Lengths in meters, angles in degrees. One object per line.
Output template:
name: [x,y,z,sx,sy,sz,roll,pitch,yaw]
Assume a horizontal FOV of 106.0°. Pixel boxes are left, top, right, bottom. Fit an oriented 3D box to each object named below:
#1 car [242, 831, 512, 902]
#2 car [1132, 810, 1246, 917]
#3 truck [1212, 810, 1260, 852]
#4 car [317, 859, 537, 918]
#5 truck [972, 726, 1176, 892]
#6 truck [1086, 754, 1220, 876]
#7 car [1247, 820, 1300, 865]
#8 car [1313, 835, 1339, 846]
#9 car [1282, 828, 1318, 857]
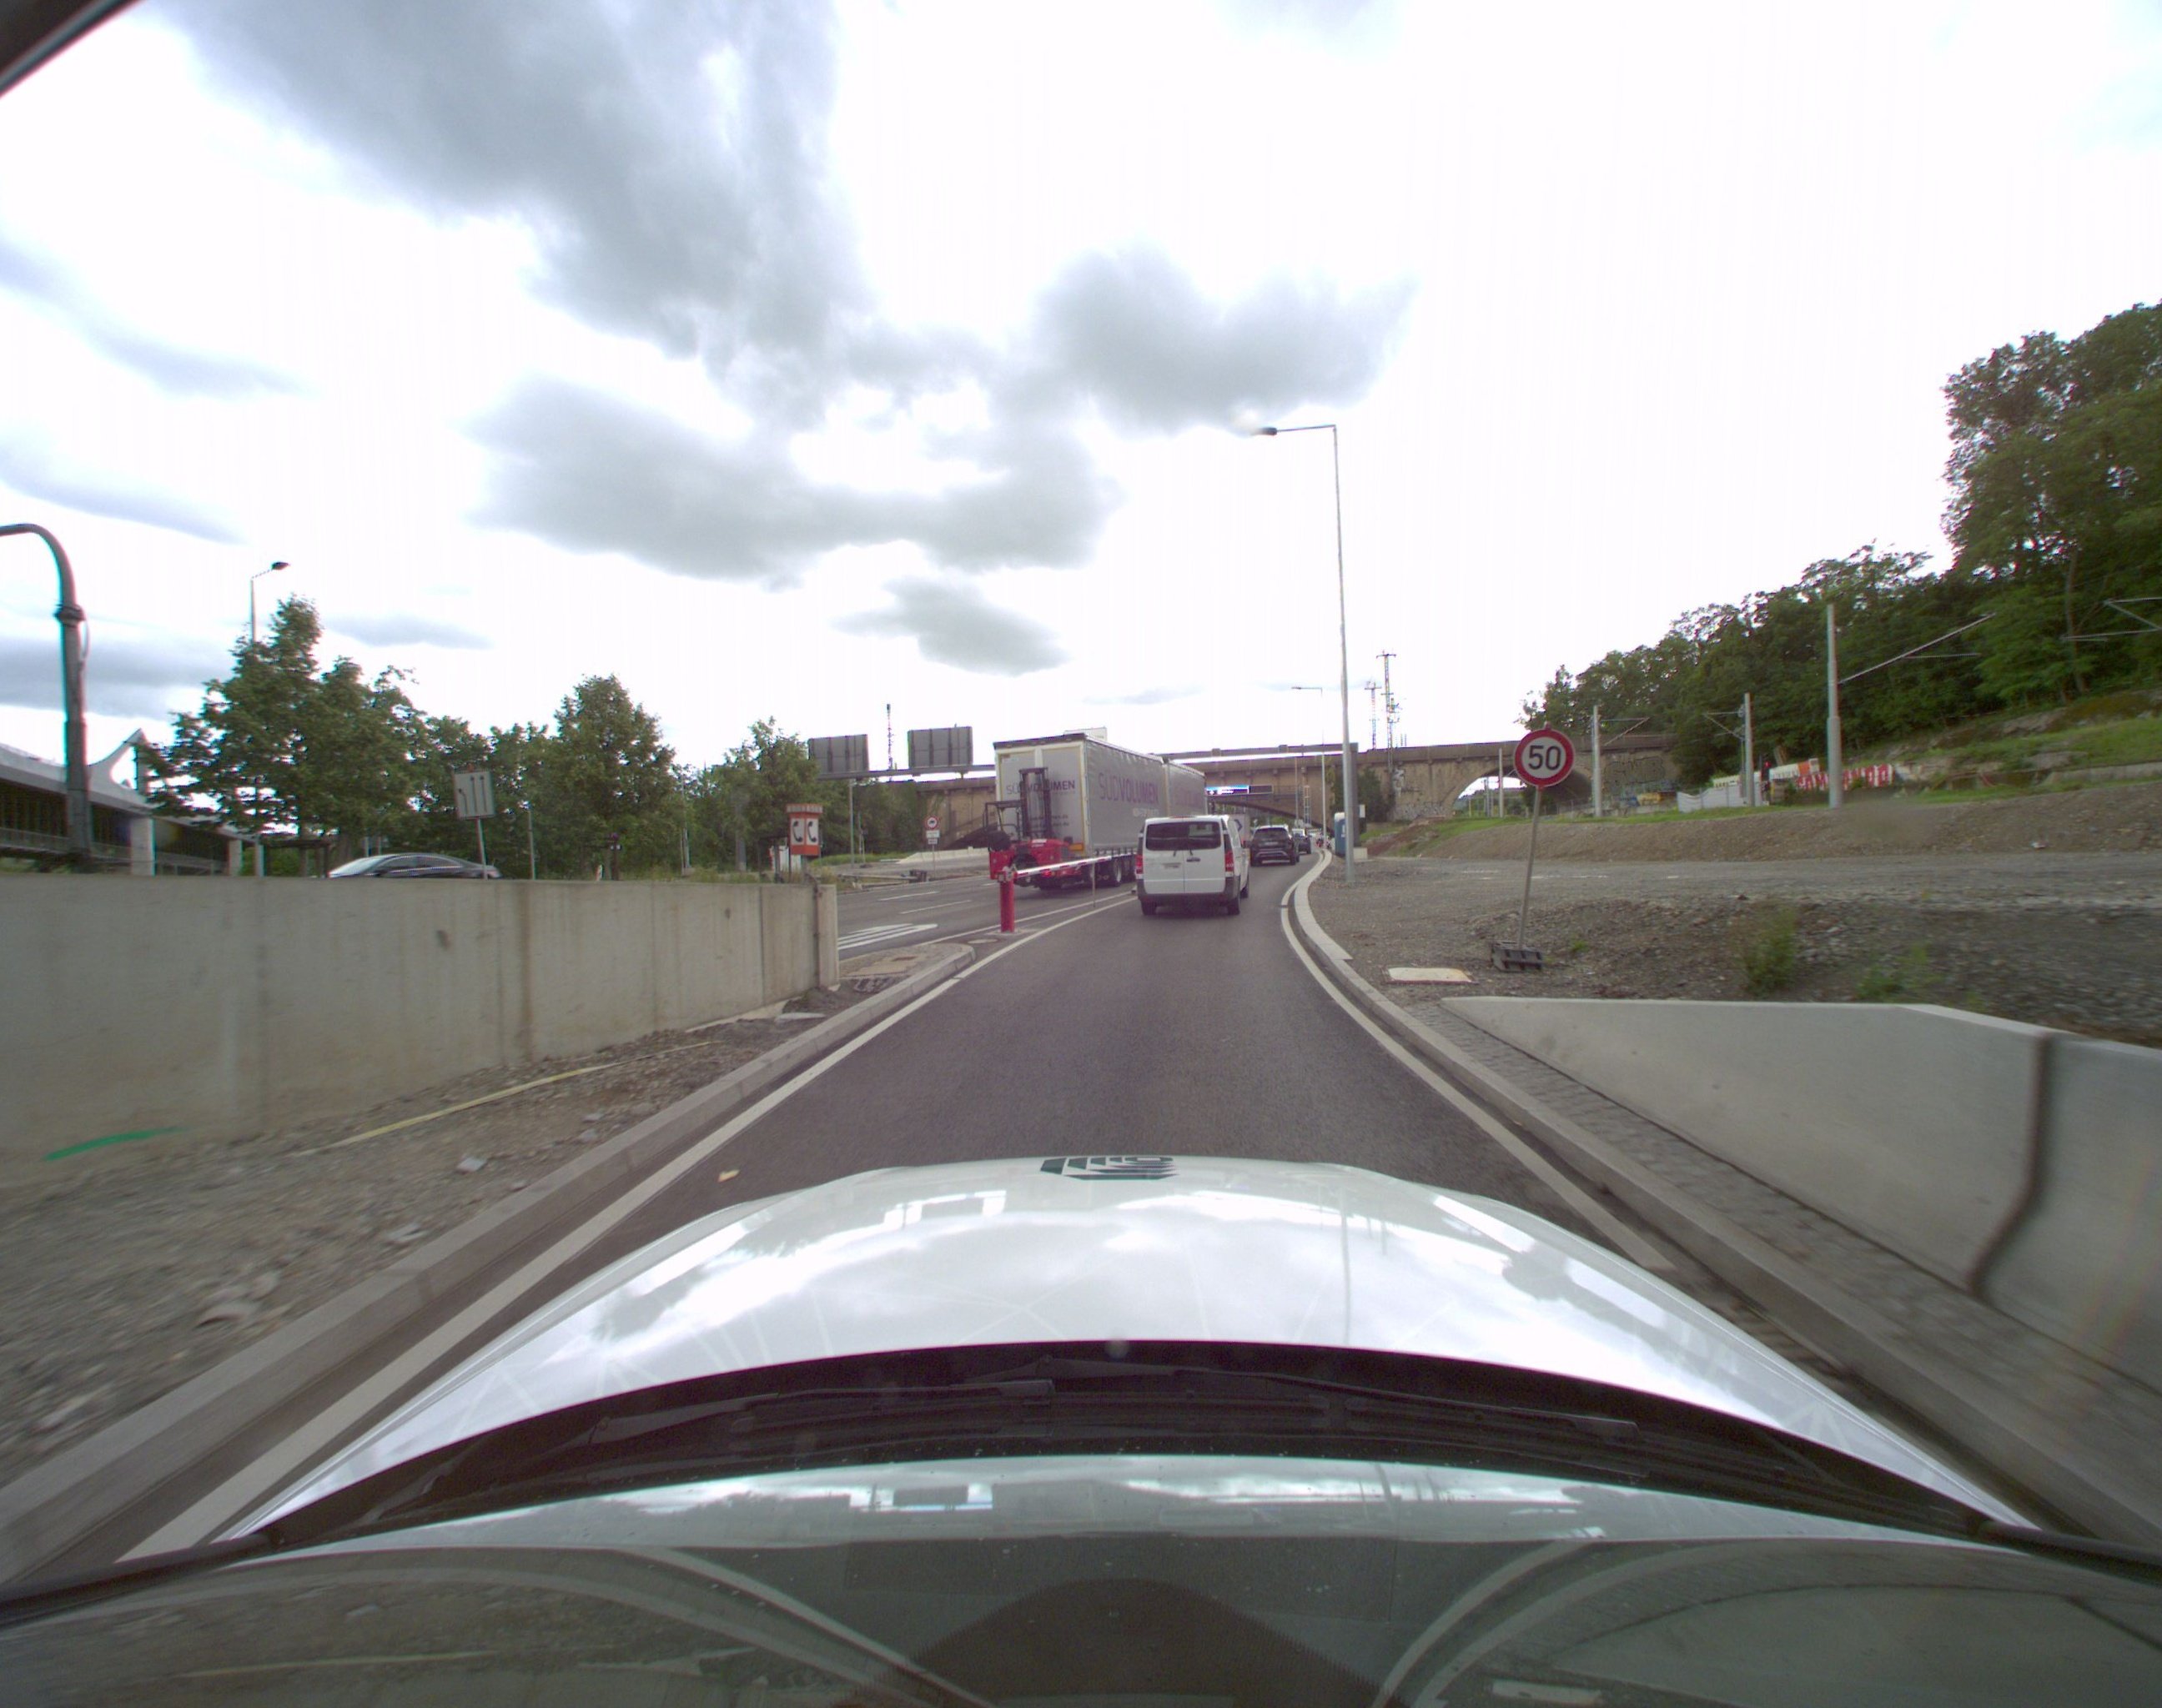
car: [-16.843,0.220,19.853,1.774,1.477,4.639,-2,1,20]
car: [2.395,0.070,16.879,1.863,1.890,4.771,0,2,13]
truck: [16.171,-2.320,83.845,3.291,3.809,16.667,0,1,16]
car: [-16.580,0.820,20.914,1.692,1.136,4.023,-1,3,22]
truck: [0.333,-1.170,25.011,2.893,4.016,10.251,-1,1,19]
truck: [3.394,-1.417,33.847,2.963,4.176,11.294,-1,1,18]
car: [7.696,-0.449,32.372,1.736,1.625,3.862,-2,0,17]
car: [44.200,-2.369,147.110,4.497,1.809,1.886,1,-1,-29]
car: [12.159,-0.613,45.149,1.488,1.469,3.417,-1,-2,22]
